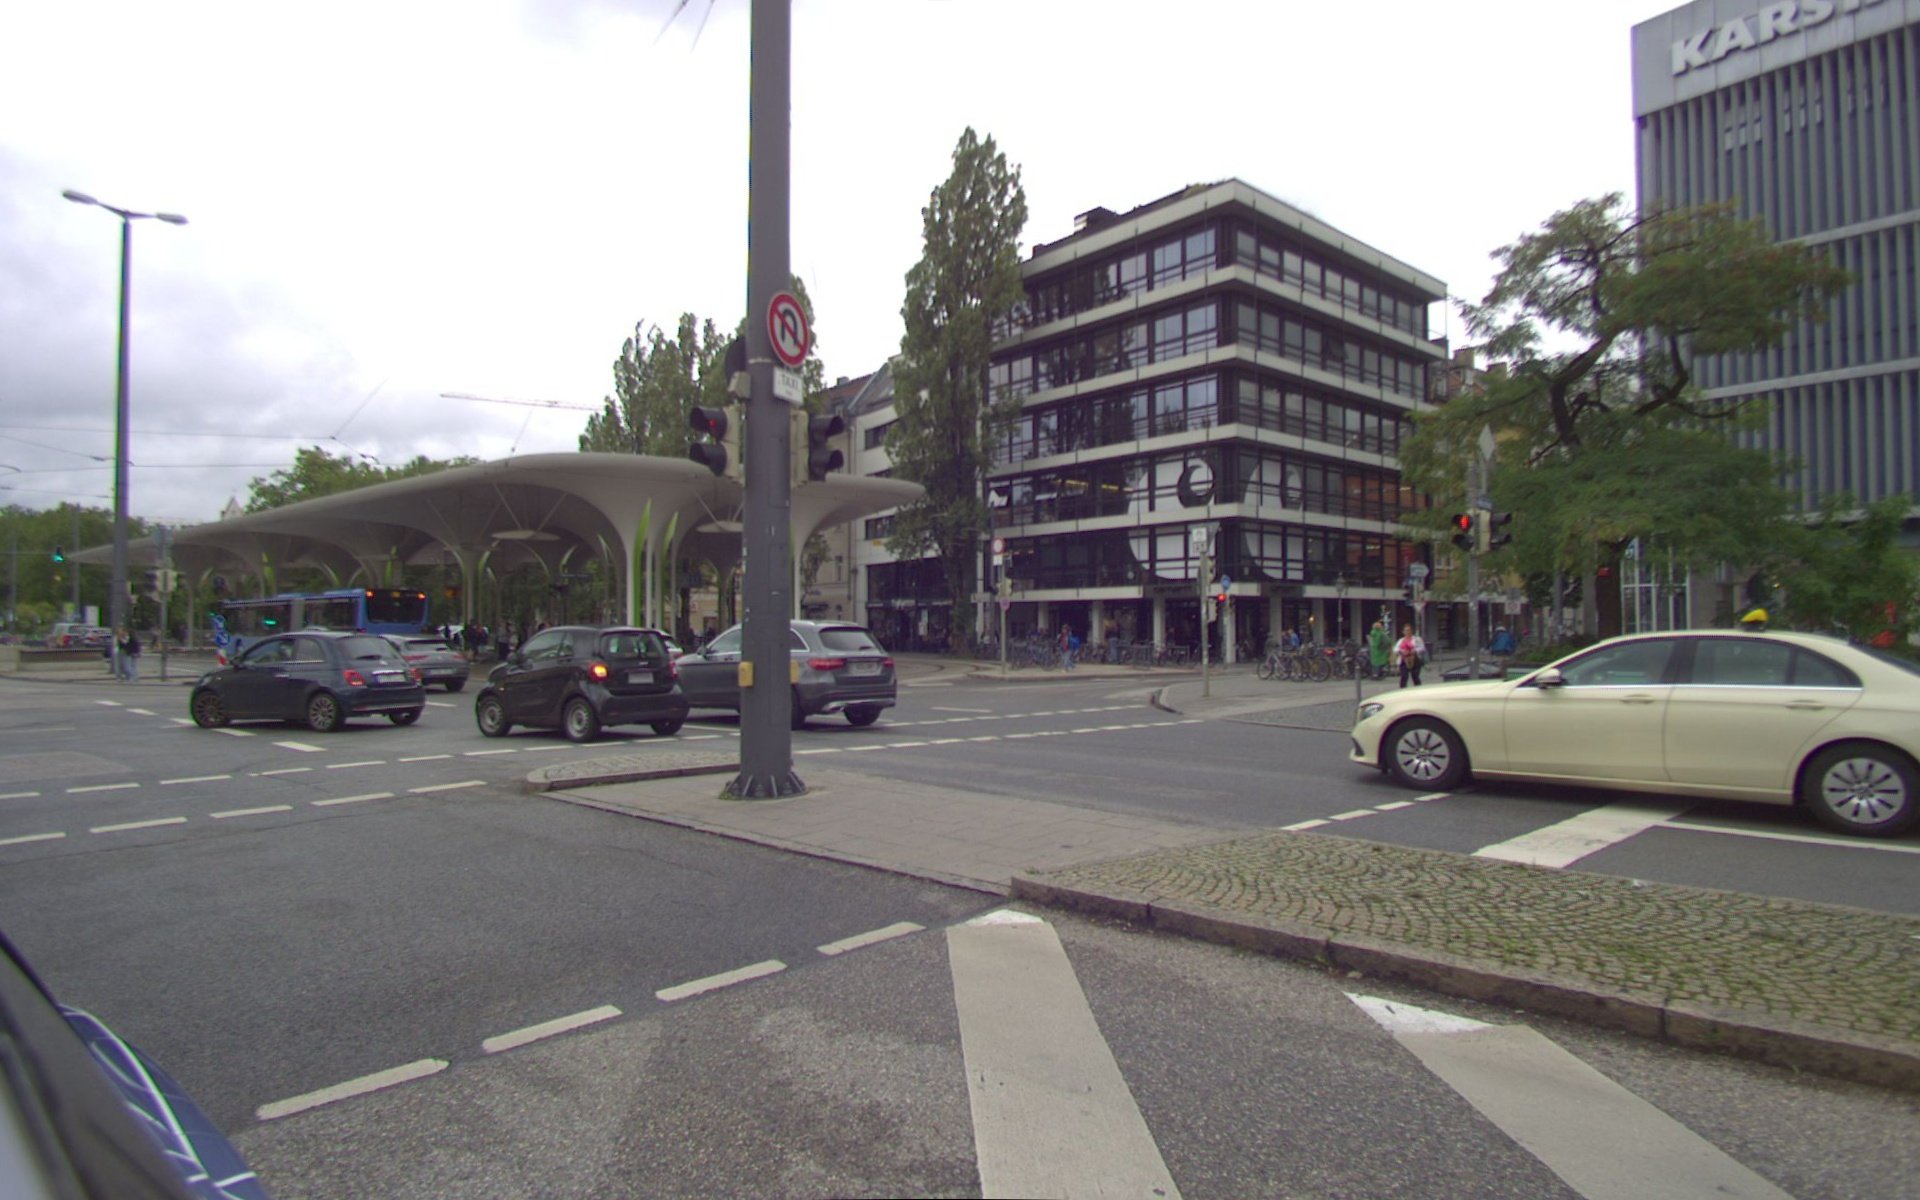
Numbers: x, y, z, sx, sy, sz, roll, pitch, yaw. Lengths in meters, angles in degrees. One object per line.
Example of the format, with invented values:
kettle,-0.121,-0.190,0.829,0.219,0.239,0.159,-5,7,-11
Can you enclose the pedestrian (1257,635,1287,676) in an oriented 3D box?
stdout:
pedestrian,12.895,2.294,41.783,0.777,1.654,0.860,1,-2,-38

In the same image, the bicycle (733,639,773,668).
bicycle,-8.431,2.156,41.175,0.633,1.133,2.169,1,-2,-40

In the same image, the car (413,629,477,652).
car,-46.046,3.588,90.554,4.852,1.962,1.874,1,-2,-39

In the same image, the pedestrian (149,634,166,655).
pedestrian,-63.205,3.492,79.729,0.737,1.641,0.734,-1,-2,20

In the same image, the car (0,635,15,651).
car,-99.038,4.432,104.336,4.230,1.537,1.840,-2,-3,40

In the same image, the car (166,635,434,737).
car,-10.177,1.294,15.664,3.507,1.457,1.542,-1,-3,16

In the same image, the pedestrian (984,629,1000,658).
pedestrian,1.832,2.479,57.767,0.585,1.604,0.675,1,-3,-34

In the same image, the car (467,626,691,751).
car,-5.251,1.158,13.922,2.828,1.546,1.491,-2,-3,32

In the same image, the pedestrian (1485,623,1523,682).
pedestrian,15.854,1.513,29.515,0.856,1.700,0.783,-1,-2,21

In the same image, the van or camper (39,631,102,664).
van or camper,-52.597,2.792,59.813,5.434,1.840,1.909,-2,-3,39

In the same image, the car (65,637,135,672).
car,-38.880,2.446,45.720,4.277,1.520,1.648,-2,-3,39

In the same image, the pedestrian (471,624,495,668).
pedestrian,-18.926,1.809,40.157,0.693,1.724,0.759,0,-2,-11

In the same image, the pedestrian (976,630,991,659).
pedestrian,1.318,2.498,56.984,0.585,1.604,0.675,1,-3,-34

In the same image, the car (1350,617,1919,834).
car,5.859,0.904,8.322,4.637,1.432,1.746,-2,-4,42

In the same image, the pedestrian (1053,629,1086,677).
pedestrian,3.879,1.854,35.729,0.845,1.654,0.790,1,-3,-45

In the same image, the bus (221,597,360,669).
bus,-31.340,1.584,47.108,10.510,3.031,2.632,-2,-4,41

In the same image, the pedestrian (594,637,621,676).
pedestrian,-13.878,2.214,39.814,1.007,1.464,0.857,0,-2,-20

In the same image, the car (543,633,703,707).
car,-7.960,1.606,23.754,3.996,1.608,1.681,-2,-4,40

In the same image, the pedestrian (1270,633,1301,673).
pedestrian,13.605,2.205,42.277,0.730,1.600,0.951,1,-2,-38

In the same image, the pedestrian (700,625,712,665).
pedestrian,-12.619,2.222,50.198,0.418,1.947,0.481,-1,-2,12

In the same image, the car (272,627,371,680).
car,-21.740,1.788,34.402,3.998,1.674,1.764,-2,-3,41

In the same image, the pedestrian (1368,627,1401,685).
pedestrian,12.185,1.605,29.071,0.805,1.631,0.834,-1,-2,26

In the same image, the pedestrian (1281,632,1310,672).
pedestrian,14.218,2.182,42.902,0.789,1.666,0.854,1,-2,-38

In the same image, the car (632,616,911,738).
car,-3.117,1.164,16.159,4.726,1.683,1.726,-2,-4,39

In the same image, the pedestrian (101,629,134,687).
pedestrian,-23.714,1.621,28.496,0.514,1.631,0.464,0,-2,-6

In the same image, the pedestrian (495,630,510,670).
pedestrian,-18.362,2.002,40.615,0.511,1.600,0.482,0,-2,-18

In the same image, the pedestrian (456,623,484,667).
pedestrian,-18.985,1.736,39.220,0.738,1.687,0.631,0,-1,2

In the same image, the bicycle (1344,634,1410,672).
bicycle,13.337,1.677,32.392,1.893,1.119,0.578,0,-1,42

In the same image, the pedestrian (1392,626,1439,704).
pedestrian,9.416,1.328,20.916,0.720,1.586,0.631,-2,-2,40

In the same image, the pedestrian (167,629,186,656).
pedestrian,-53.251,2.872,68.764,0.802,1.853,0.663,-1,-2,11

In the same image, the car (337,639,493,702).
car,-13.615,1.693,25.214,4.163,1.422,1.974,-2,-2,39

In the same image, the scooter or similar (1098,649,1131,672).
scooter or similar,6.802,2.670,44.496,1.400,0.989,0.410,-2,-2,34

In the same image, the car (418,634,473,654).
car,-44.508,3.812,87.563,3.938,1.628,1.833,1,-3,-41

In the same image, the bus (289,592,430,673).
bus,-24.556,1.367,41.214,7.509,3.031,2.632,-2,-4,41

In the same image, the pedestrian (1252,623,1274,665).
pedestrian,14.763,2.119,49.335,0.908,2.029,0.832,-1,-2,12

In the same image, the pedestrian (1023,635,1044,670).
pedestrian,3.895,2.789,53.795,0.710,1.814,0.829,1,-2,-40

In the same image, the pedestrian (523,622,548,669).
pedestrian,-16.788,1.792,40.016,0.793,1.831,0.707,1,-2,-34

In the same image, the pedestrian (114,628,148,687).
pedestrian,-23.310,1.608,28.463,0.551,1.631,0.486,-1,-2,6

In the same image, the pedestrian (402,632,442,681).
pedestrian,-19.068,1.998,35.885,0.835,1.694,0.966,-1,-2,21

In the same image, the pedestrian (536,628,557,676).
pedestrian,-15.195,1.900,37.150,0.540,1.733,0.616,1,-2,-42
